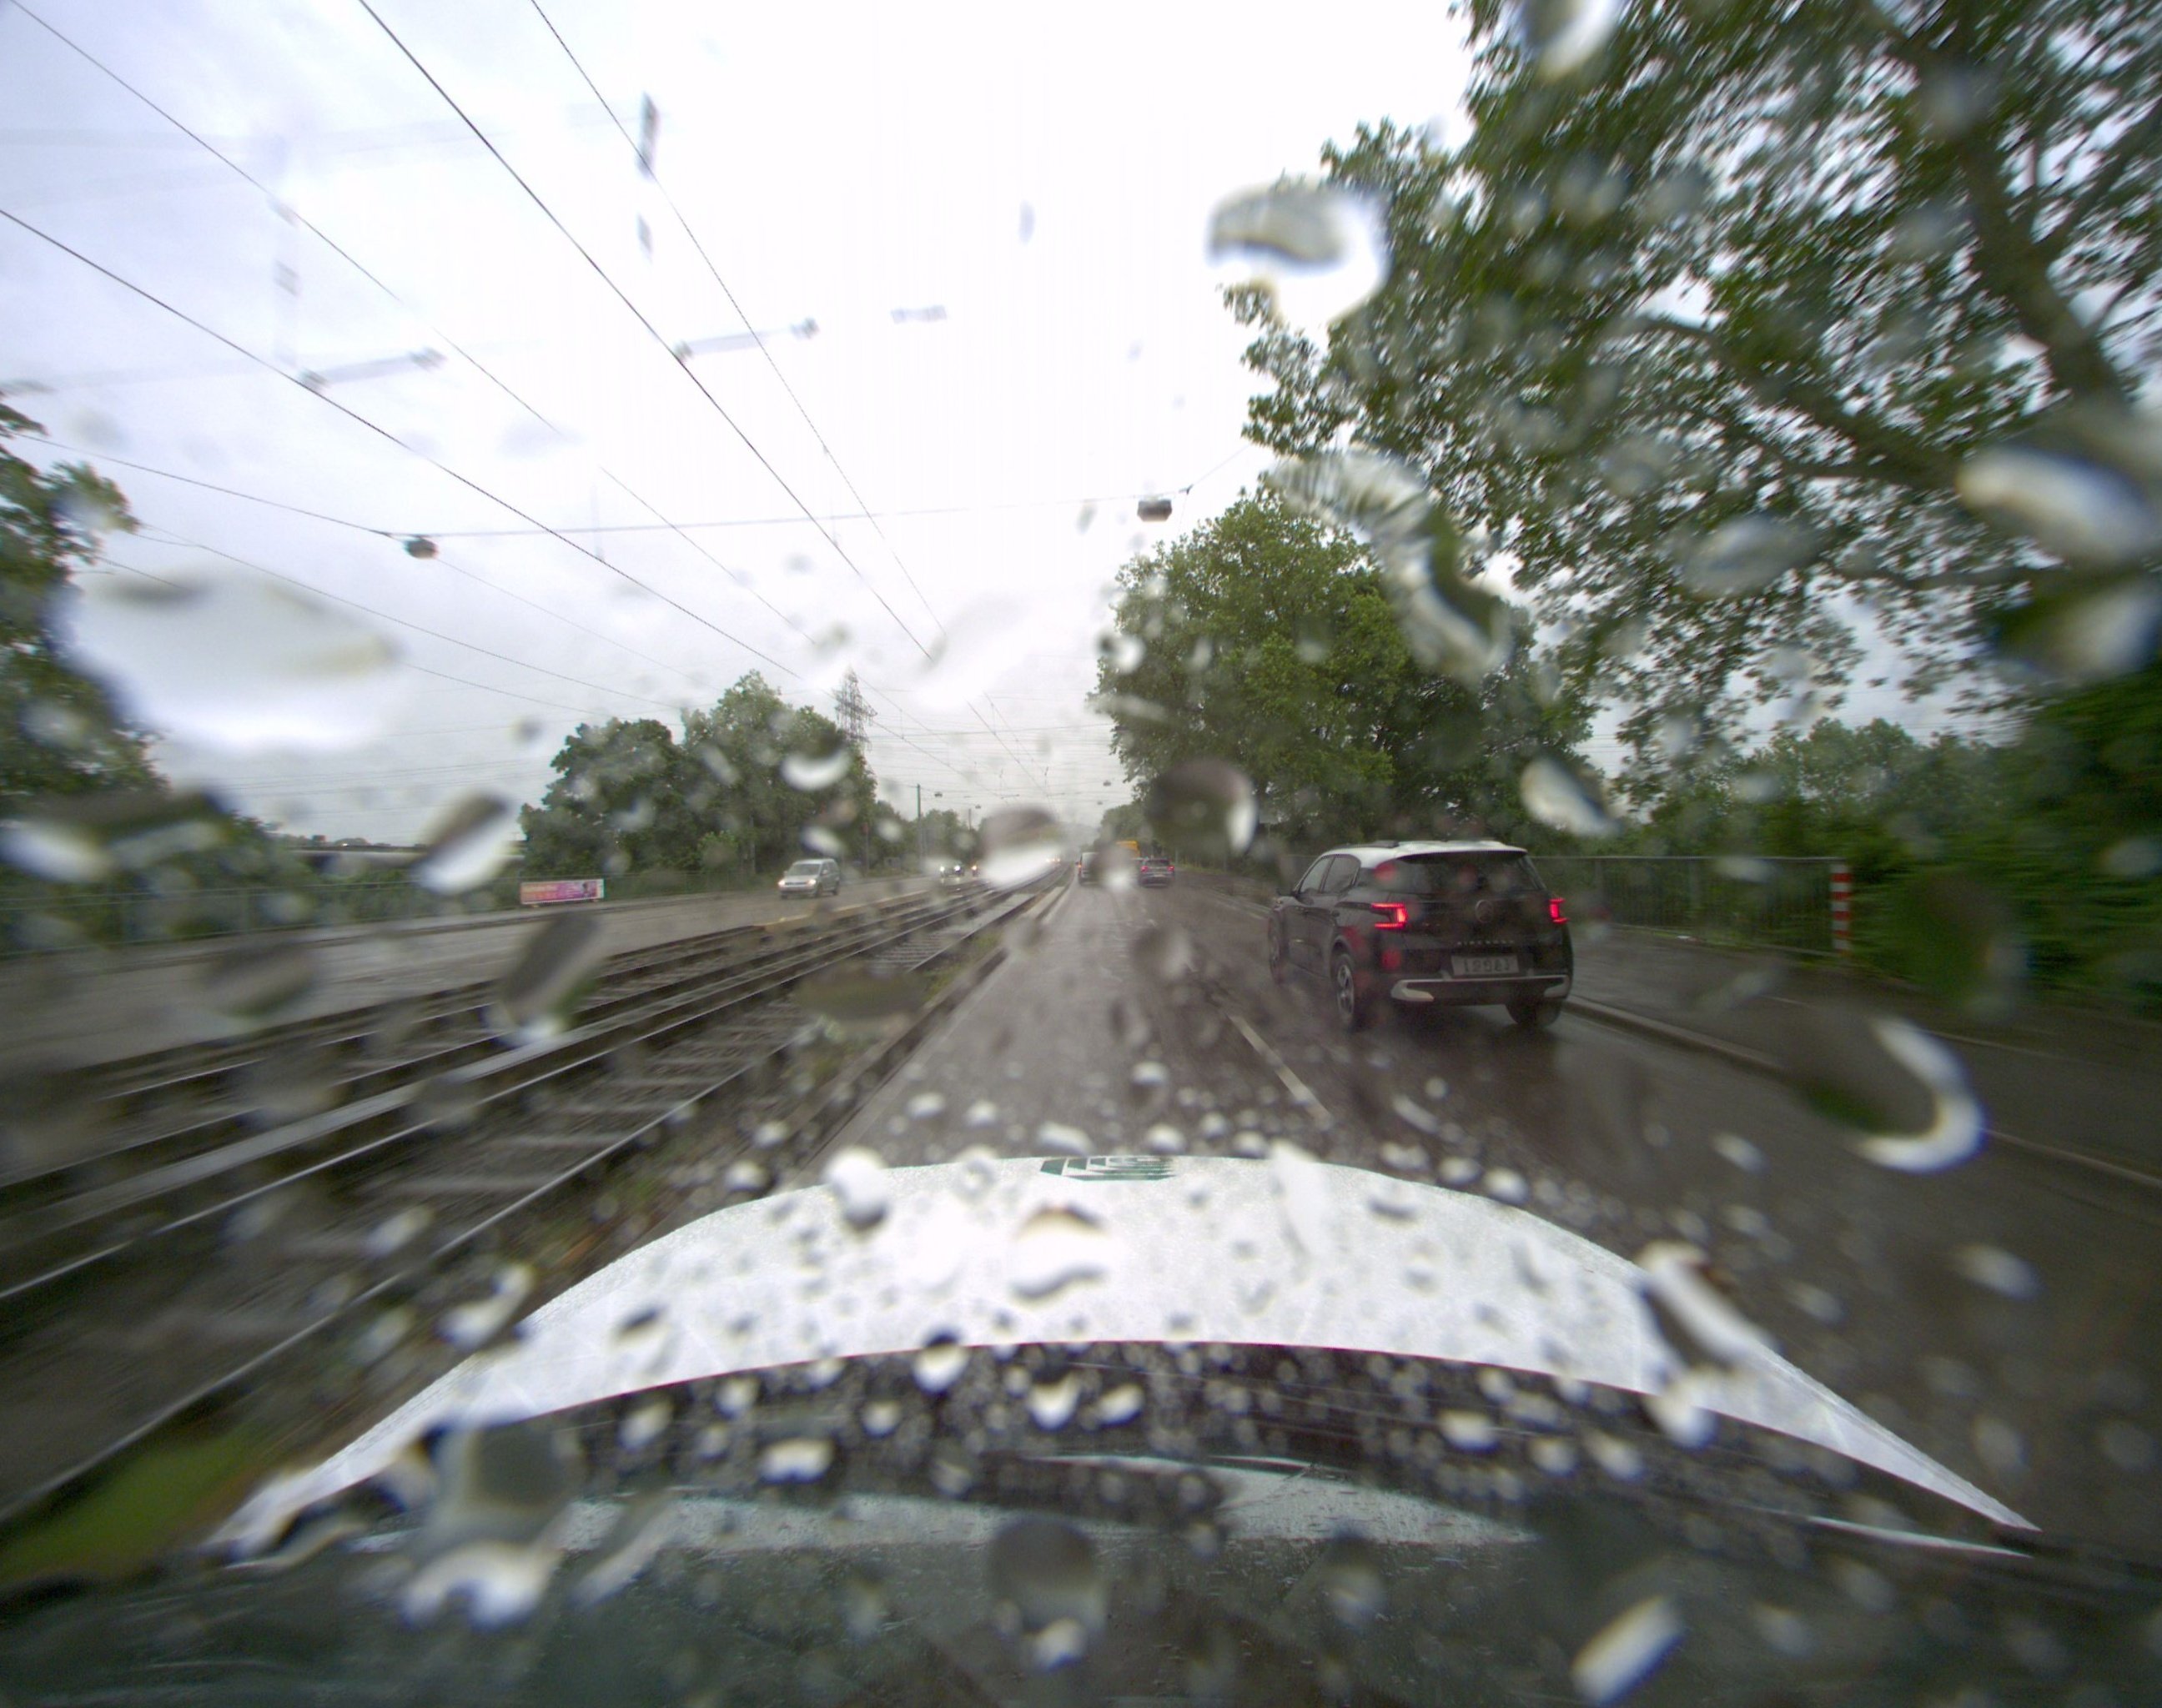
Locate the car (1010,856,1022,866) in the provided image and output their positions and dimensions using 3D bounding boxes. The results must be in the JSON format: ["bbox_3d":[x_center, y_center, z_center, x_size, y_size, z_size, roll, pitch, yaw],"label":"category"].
[{"bbox_3d":[-13.199,1.468,165.379,1.985,1.903,4.003,0,0,2],"label":"car"}]

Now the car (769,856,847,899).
[{"bbox_3d":[-12.659,1.045,38.073,1.987,1.816,4.659,-2,0,1],"label":"car"}]

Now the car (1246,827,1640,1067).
[{"bbox_3d":[3.093,0.633,8.235,1.893,1.716,4.725,0,1,0],"label":"car"}]

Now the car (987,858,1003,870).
[{"bbox_3d":[-14.044,1.577,133.078,1.986,1.903,4.003,0,0,2],"label":"car"}]

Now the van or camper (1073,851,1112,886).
[{"bbox_3d":[0.591,0.759,44.714,1.988,1.784,3.998,0,1,-1],"label":"van or camper"}]

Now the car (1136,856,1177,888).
[{"bbox_3d":[3.668,0.843,40.251,1.811,1.414,3.780,0,1,2],"label":"car"}]

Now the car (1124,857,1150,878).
[{"bbox_3d":[4.098,0.962,60.041,1.811,1.414,3.780,0,1,2],"label":"car"}]

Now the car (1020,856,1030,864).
[{"bbox_3d":[-12.852,1.318,187.221,1.985,1.903,4.003,0,0,2],"label":"car"}]

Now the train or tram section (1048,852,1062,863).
[{"bbox_3d":[-7.107,0.846,223.765,2.839,2.894,14.012,-2,0,2],"label":"train or tram section"}]

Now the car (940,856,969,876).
[{"bbox_3d":[-12.458,1.185,80.564,1.986,1.816,4.003,-2,0,2],"label":"car"}]

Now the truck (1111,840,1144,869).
[{"bbox_3d":[4.648,0.069,82.293,3.102,2.773,6.330,-1,0,1],"label":"truck"}]

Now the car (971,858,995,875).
[{"bbox_3d":[-9.303,1.159,77.651,1.650,1.486,4.015,-2,0,2],"label":"car"}]
